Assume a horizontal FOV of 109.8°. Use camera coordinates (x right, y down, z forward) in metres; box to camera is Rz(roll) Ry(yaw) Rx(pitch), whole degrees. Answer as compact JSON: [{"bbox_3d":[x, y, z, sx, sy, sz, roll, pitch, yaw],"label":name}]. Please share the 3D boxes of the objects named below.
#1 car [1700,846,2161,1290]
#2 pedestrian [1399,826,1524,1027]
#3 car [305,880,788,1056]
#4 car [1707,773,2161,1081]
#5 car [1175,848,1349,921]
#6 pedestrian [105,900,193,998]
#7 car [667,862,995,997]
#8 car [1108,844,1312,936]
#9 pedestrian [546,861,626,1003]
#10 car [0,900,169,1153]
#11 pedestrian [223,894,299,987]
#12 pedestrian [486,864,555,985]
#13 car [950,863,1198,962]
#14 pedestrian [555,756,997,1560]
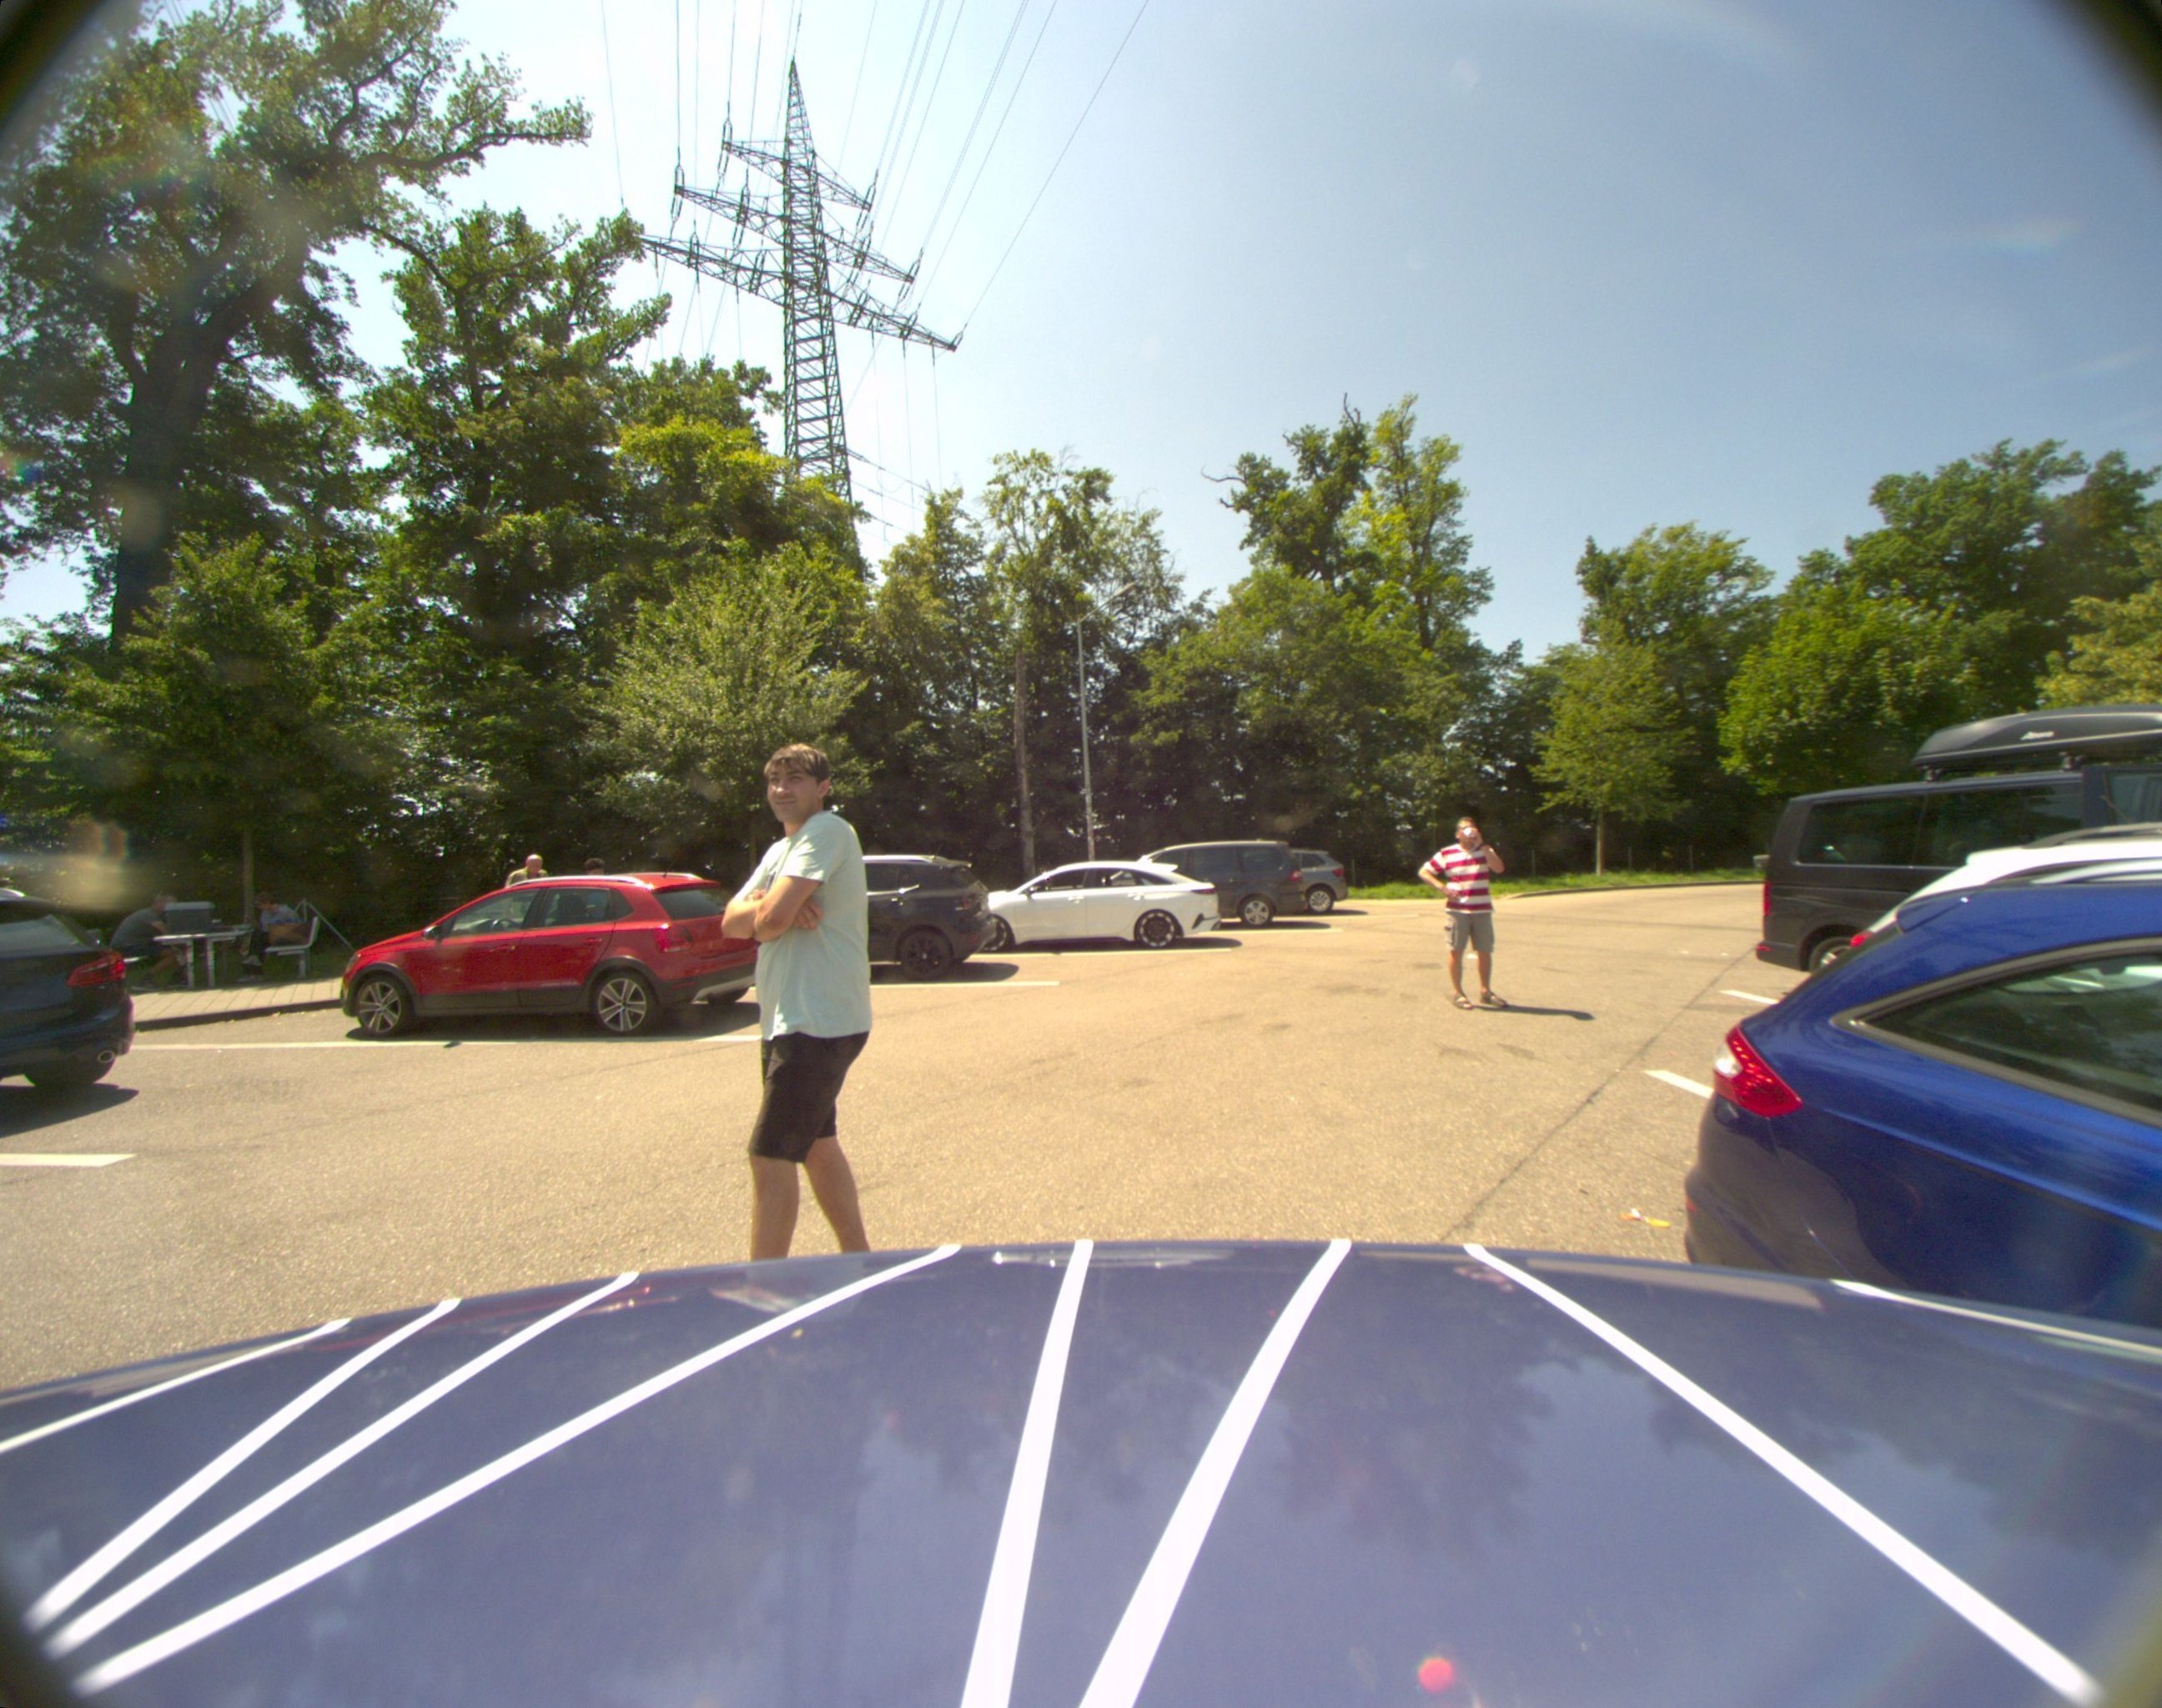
[{"bbox_3d":[4.652,0.731,2.266,1.757,1.496,4.574,-3,-1,-1],"label":"car"},{"bbox_3d":[3.498,0.637,7.051,0.754,1.744,0.785,-2,1,5],"label":"pedestrian"},{"bbox_3d":[-5.225,1.092,7.685,3.823,1.460,1.651,-2,1,8],"label":"car"},{"bbox_3d":[7.380,0.416,5.298,1.758,1.886,4.571,-3,-1,-9],"label":"car"},{"bbox_3d":[4.273,0.708,18.166,3.822,1.551,1.652,-2,1,12],"label":"car"},{"bbox_3d":[-12.722,1.272,10.388,0.595,1.238,0.446,-3,1,-33],"label":"pedestrian"},{"bbox_3d":[-3.243,0.964,10.314,3.825,1.546,1.651,-2,1,4],"label":"car"},{"bbox_3d":[2.613,0.712,15.471,3.822,1.686,1.652,-2,1,12],"label":"car"},{"bbox_3d":[-5.921,0.894,9.084,0.648,1.596,0.571,-3,2,-43],"label":"pedestrian"},{"bbox_3d":[-9.026,1.175,5.020,4.338,1.544,1.749,-1,1,8],"label":"car"},{"bbox_3d":[-11.855,1.232,11.002,0.595,1.238,0.499,-3,1,-33],"label":"pedestrian"},{"bbox_3d":[-7.800,0.950,10.572,0.648,1.596,0.571,-3,2,-43],"label":"pedestrian"},{"bbox_3d":[-0.068,0.934,12.689,3.825,1.394,1.651,-2,1,4],"label":"car"},{"bbox_3d":[-0.917,0.734,2.420,0.812,1.939,0.922,-1,1,33],"label":"pedestrian"}]
